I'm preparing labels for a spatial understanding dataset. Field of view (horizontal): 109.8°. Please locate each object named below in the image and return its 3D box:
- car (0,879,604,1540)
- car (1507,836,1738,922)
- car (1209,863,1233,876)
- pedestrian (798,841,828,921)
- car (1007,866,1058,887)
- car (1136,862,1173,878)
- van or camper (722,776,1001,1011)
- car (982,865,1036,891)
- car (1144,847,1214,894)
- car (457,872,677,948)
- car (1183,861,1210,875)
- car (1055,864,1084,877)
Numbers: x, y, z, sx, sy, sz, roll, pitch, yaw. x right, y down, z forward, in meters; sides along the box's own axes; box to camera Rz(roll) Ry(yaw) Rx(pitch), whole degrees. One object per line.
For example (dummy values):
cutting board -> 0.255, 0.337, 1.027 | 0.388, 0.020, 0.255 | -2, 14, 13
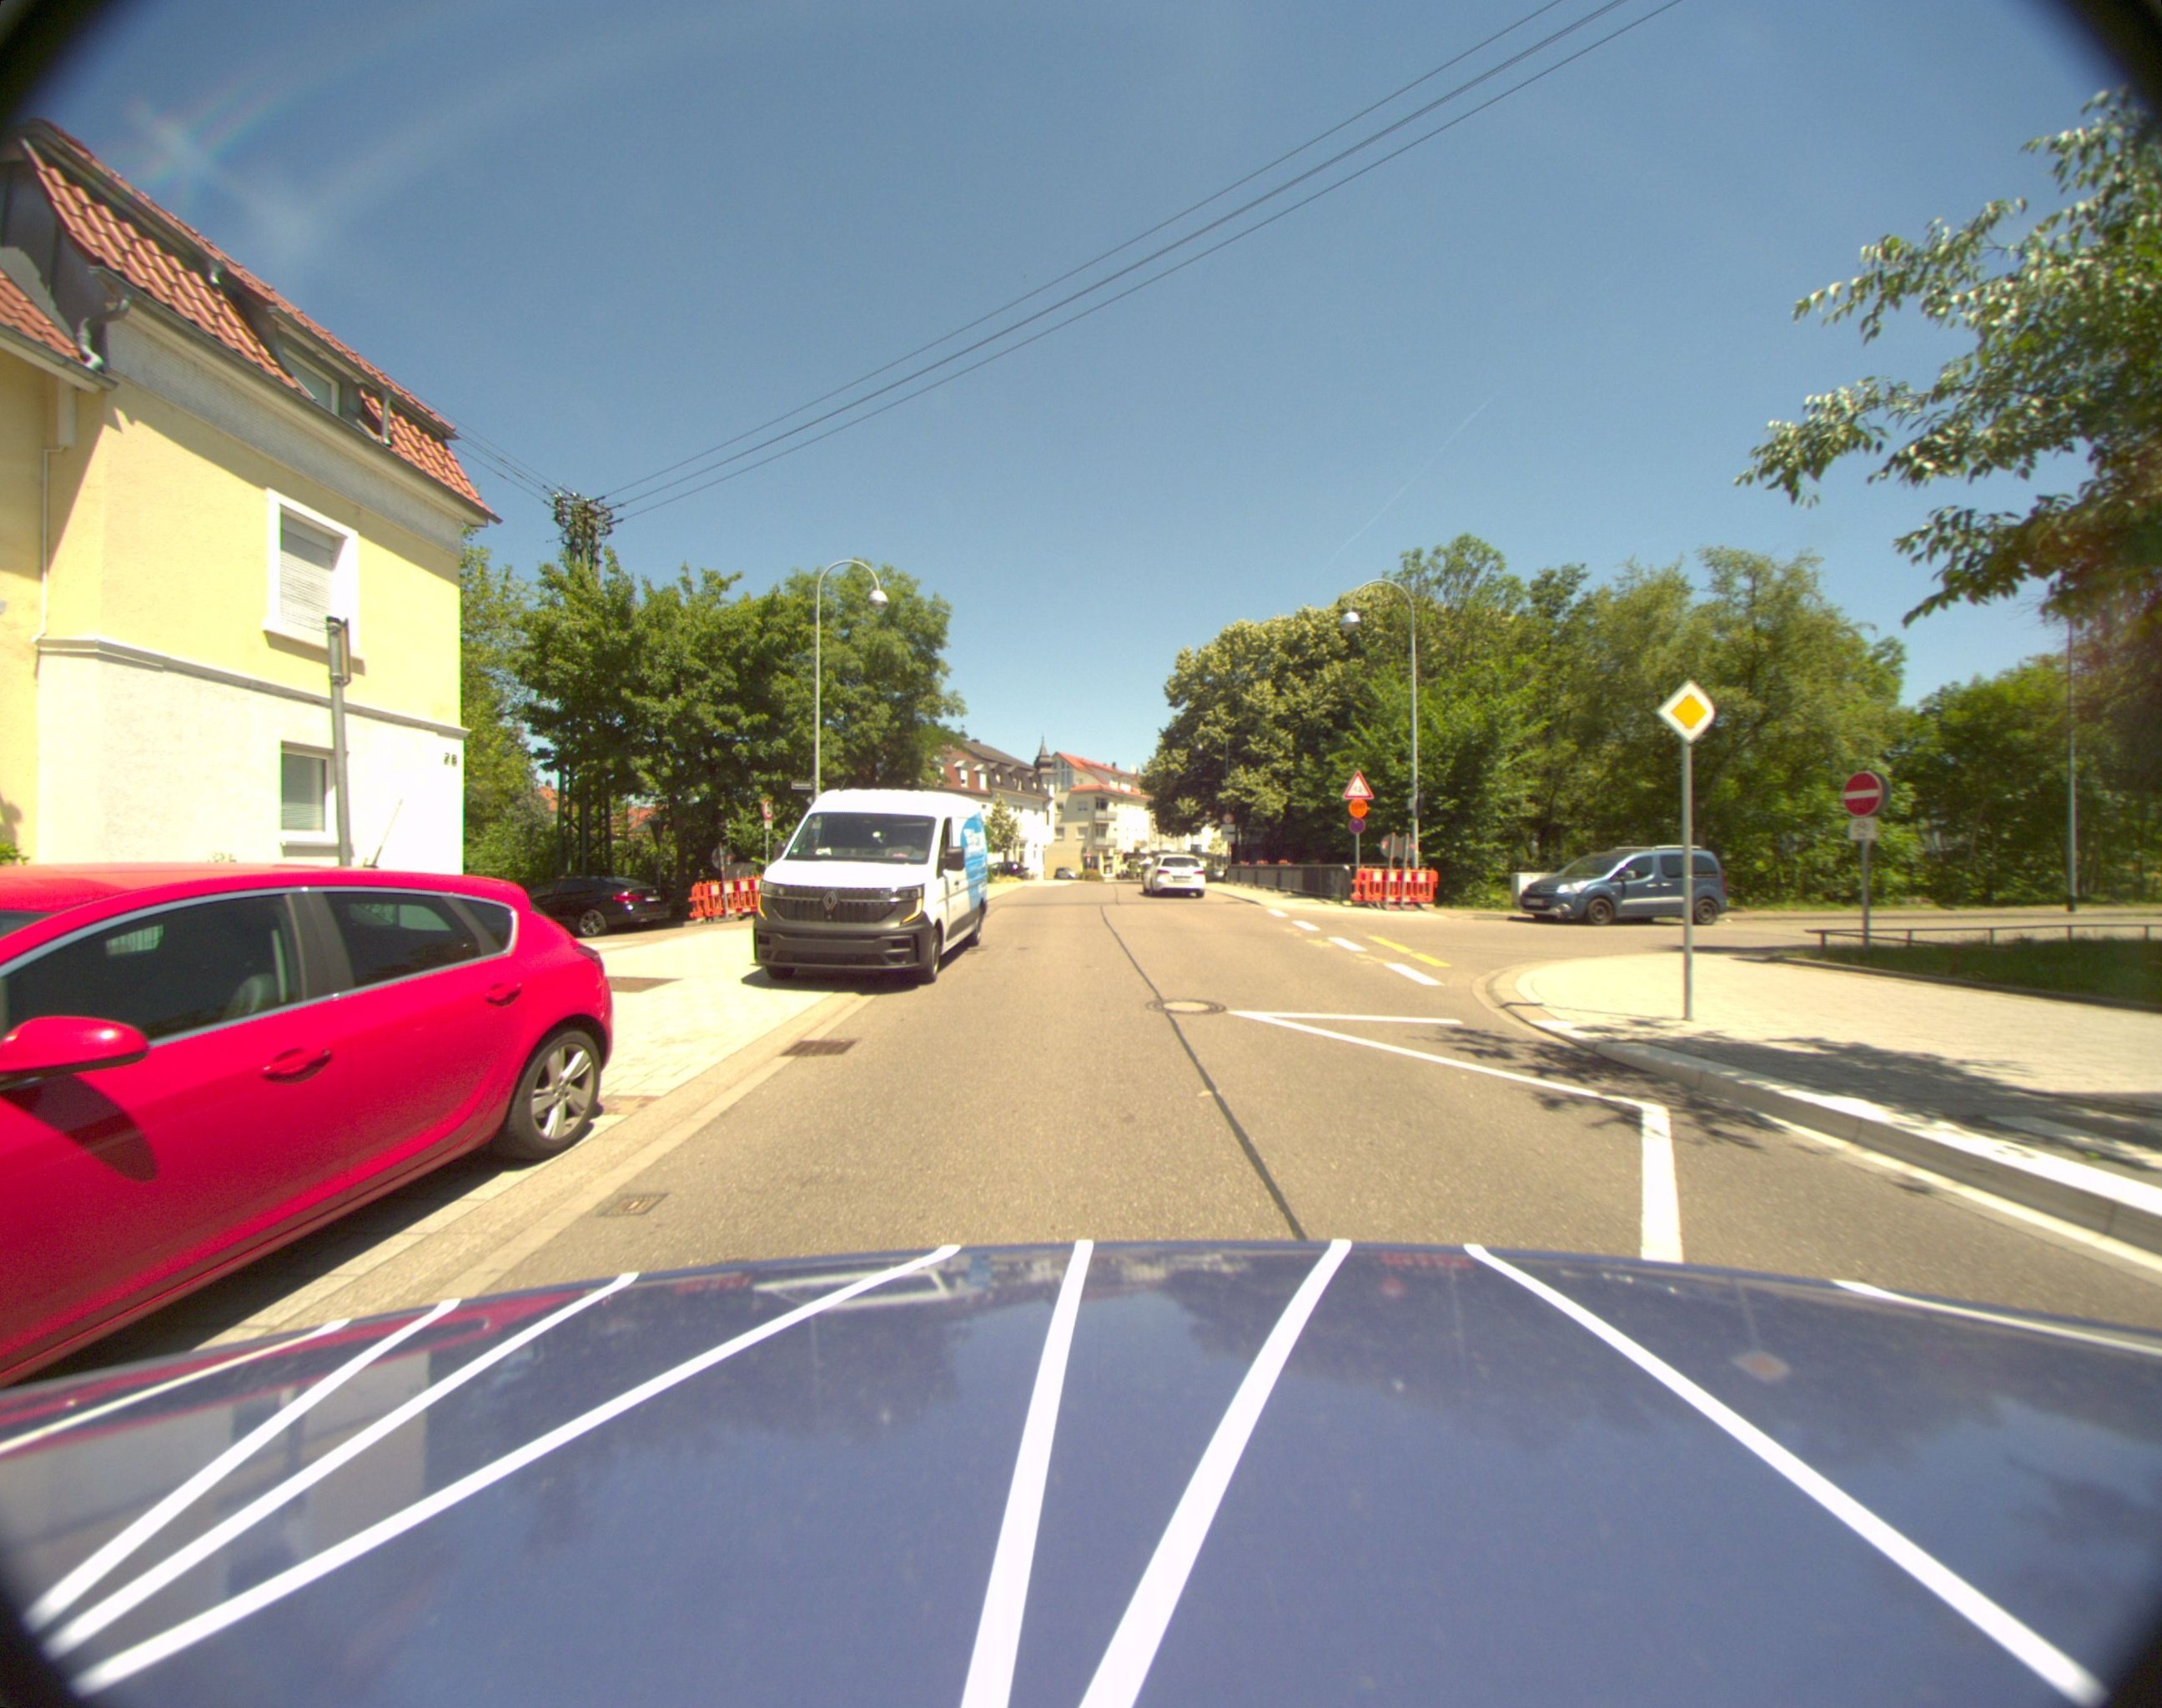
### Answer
car -> -3.529, 0.905, 2.112 | 1.808, 1.521, 4.150 | 0, 0, -1
car -> 12.551, 0.571, 17.720 | 4.439, 1.862, 1.818 | 0, -1, -10
car -> 18.924, 2.044, 102.581 | 1.994, 1.674, 4.008 | 0, 0, 30
pedestrian -> -5.847, 0.573, 16.584 | 0.522, 1.696, 0.803 | 3, 0, -20
car -> -4.279, 1.998, 66.792 | 3.990, 1.660, 2.003 | -3, 0, 27
car -> 8.515, 1.853, 87.960 | 4.010, 1.705, 1.994 | 4, -3, -42
van or camper -> -2.665, 0.374, 11.128 | 2.113, 2.453, 6.176 | 1, 1, 2
car -> -6.043, 2.019, 64.041 | 3.990, 2.002, 2.003 | -3, 0, 26
car -> 3.350, 0.555, 26.704 | 1.998, 1.498, 4.289 | -1, 0, 2
car -> -12.537, 1.354, 18.653 | 4.399, 1.458, 1.646 | -4, 0, 7
car -> 14.685, 1.792, 96.700 | 2.001, 1.705, 3.995 | 1, -2, -16
car -> -1.371, 1.945, 89.488 | 3.038, 1.444, 1.570 | -3, 0, 22
